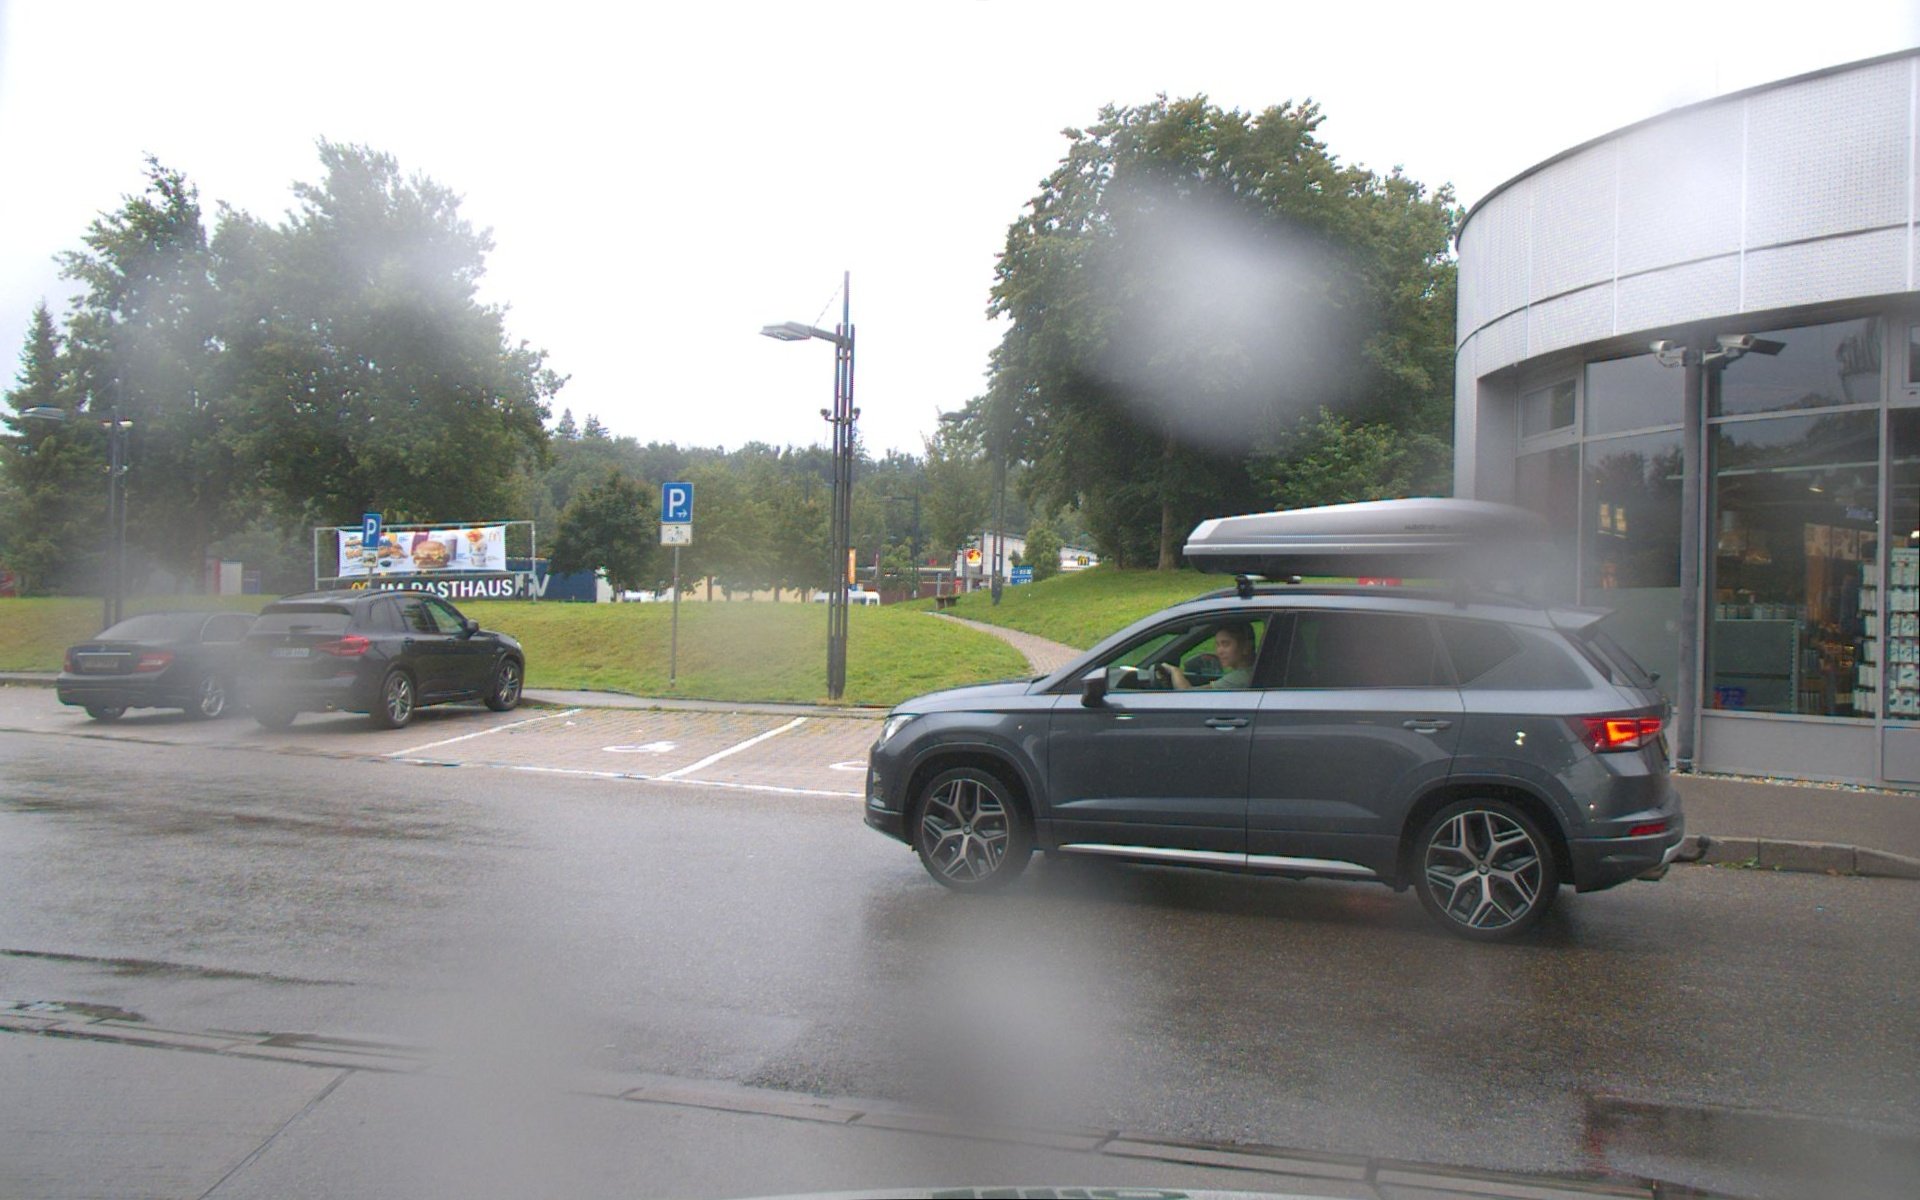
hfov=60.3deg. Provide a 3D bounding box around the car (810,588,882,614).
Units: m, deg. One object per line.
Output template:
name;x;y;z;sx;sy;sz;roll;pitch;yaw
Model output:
car;-9.187;0.076;133.526;5.310;2.049;2.456;1;0;19

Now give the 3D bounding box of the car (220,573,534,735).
car;-7.332;0.617;21.332;1.844;1.860;4.417;0;0;11

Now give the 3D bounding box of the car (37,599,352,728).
car;-10.357;0.790;22.772;1.844;1.592;4.189;0;0;11

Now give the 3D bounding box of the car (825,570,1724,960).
car;1.612;0.681;8.673;4.224;1.615;1.890;1;0;22
